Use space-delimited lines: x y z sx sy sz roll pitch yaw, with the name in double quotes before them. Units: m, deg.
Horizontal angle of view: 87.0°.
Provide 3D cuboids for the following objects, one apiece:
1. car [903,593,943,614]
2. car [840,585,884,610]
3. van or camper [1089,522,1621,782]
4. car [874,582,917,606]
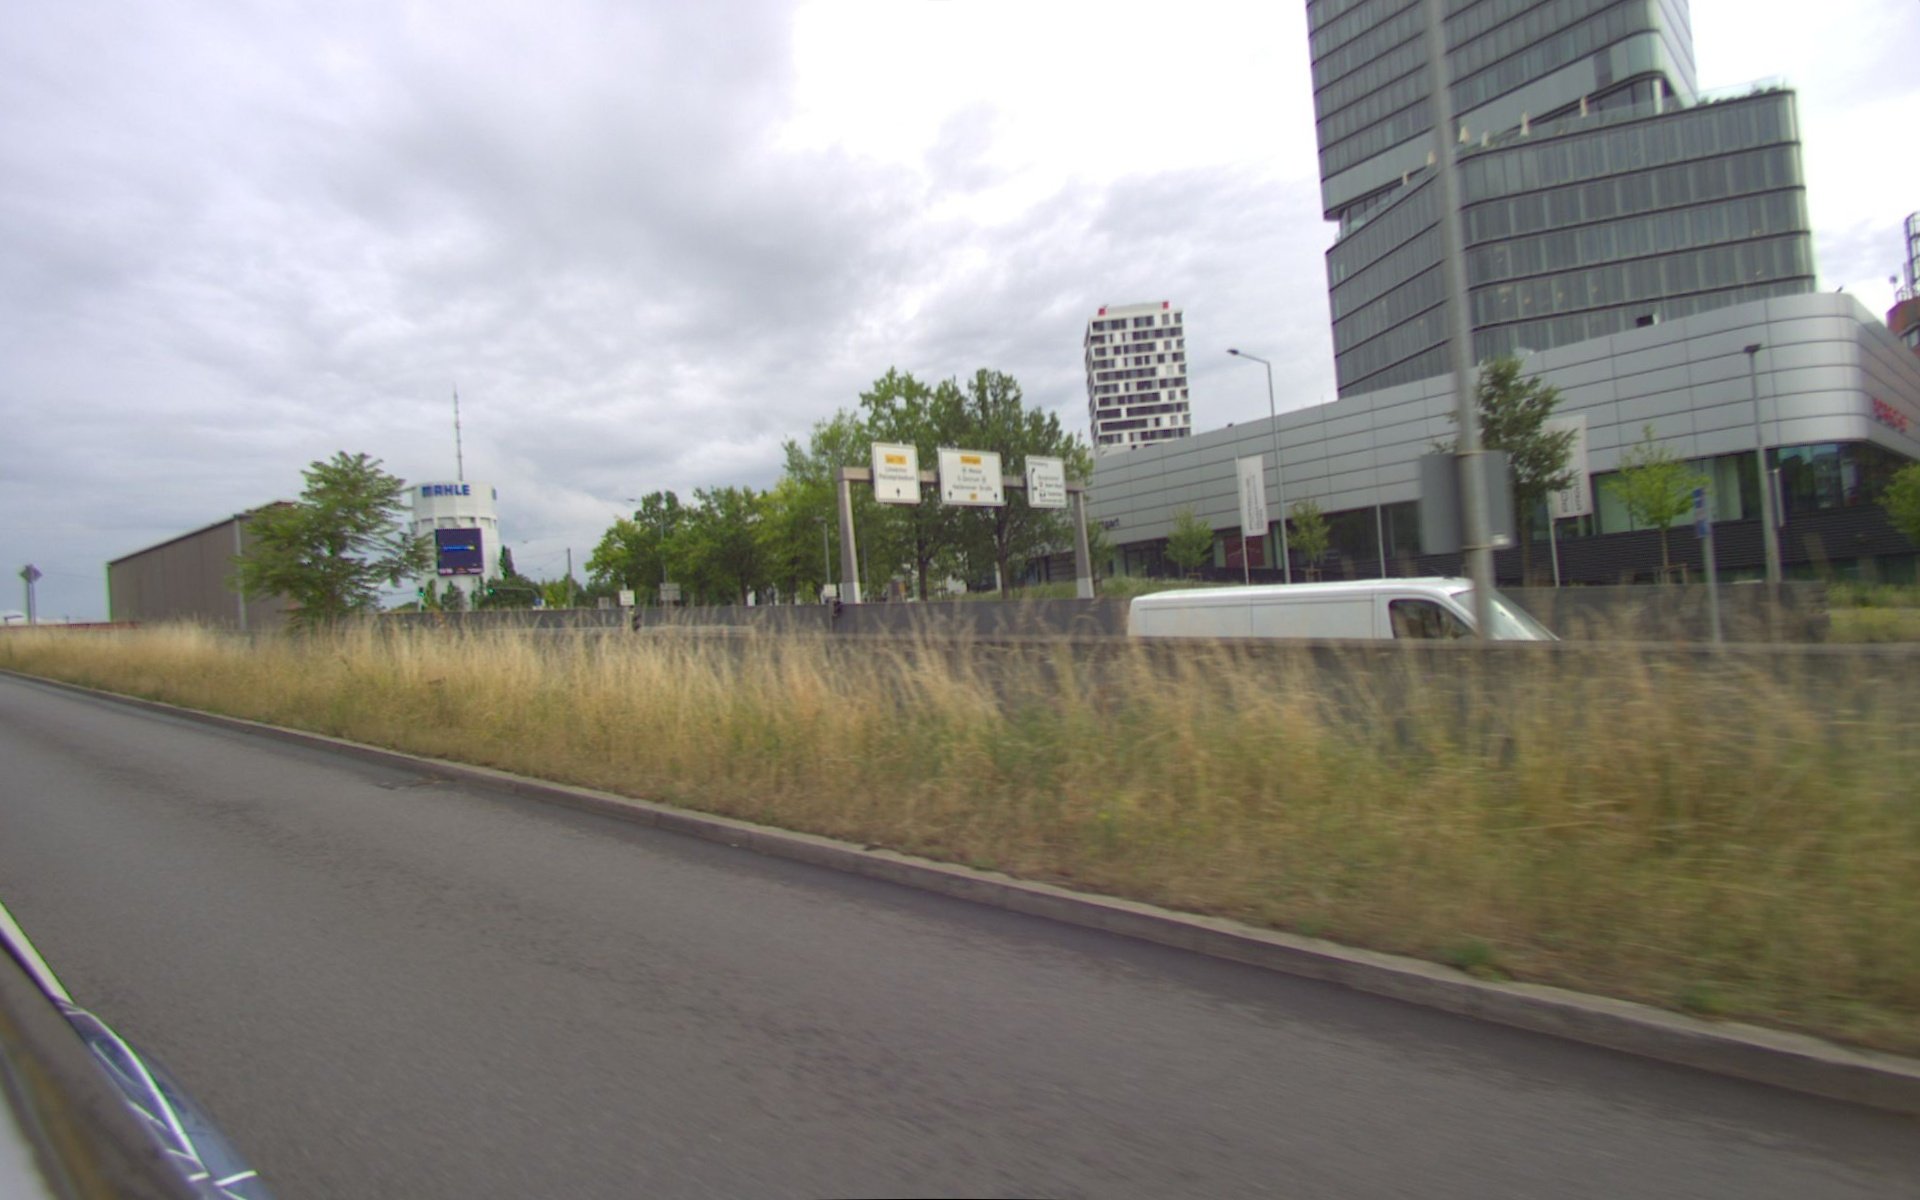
"car" -4.021 0.393 108.941 3.938 1.862 2.003 -6 0 -8
"car" -9.851 -0.281 101.649 3.993 2.028 1.976 -7 -1 37
"van or camper" 4.513 0.534 12.228 5.528 2.457 2.181 -2 0 41
"car" -6.766 -0.614 106.197 3.993 2.028 1.976 -7 -1 37
